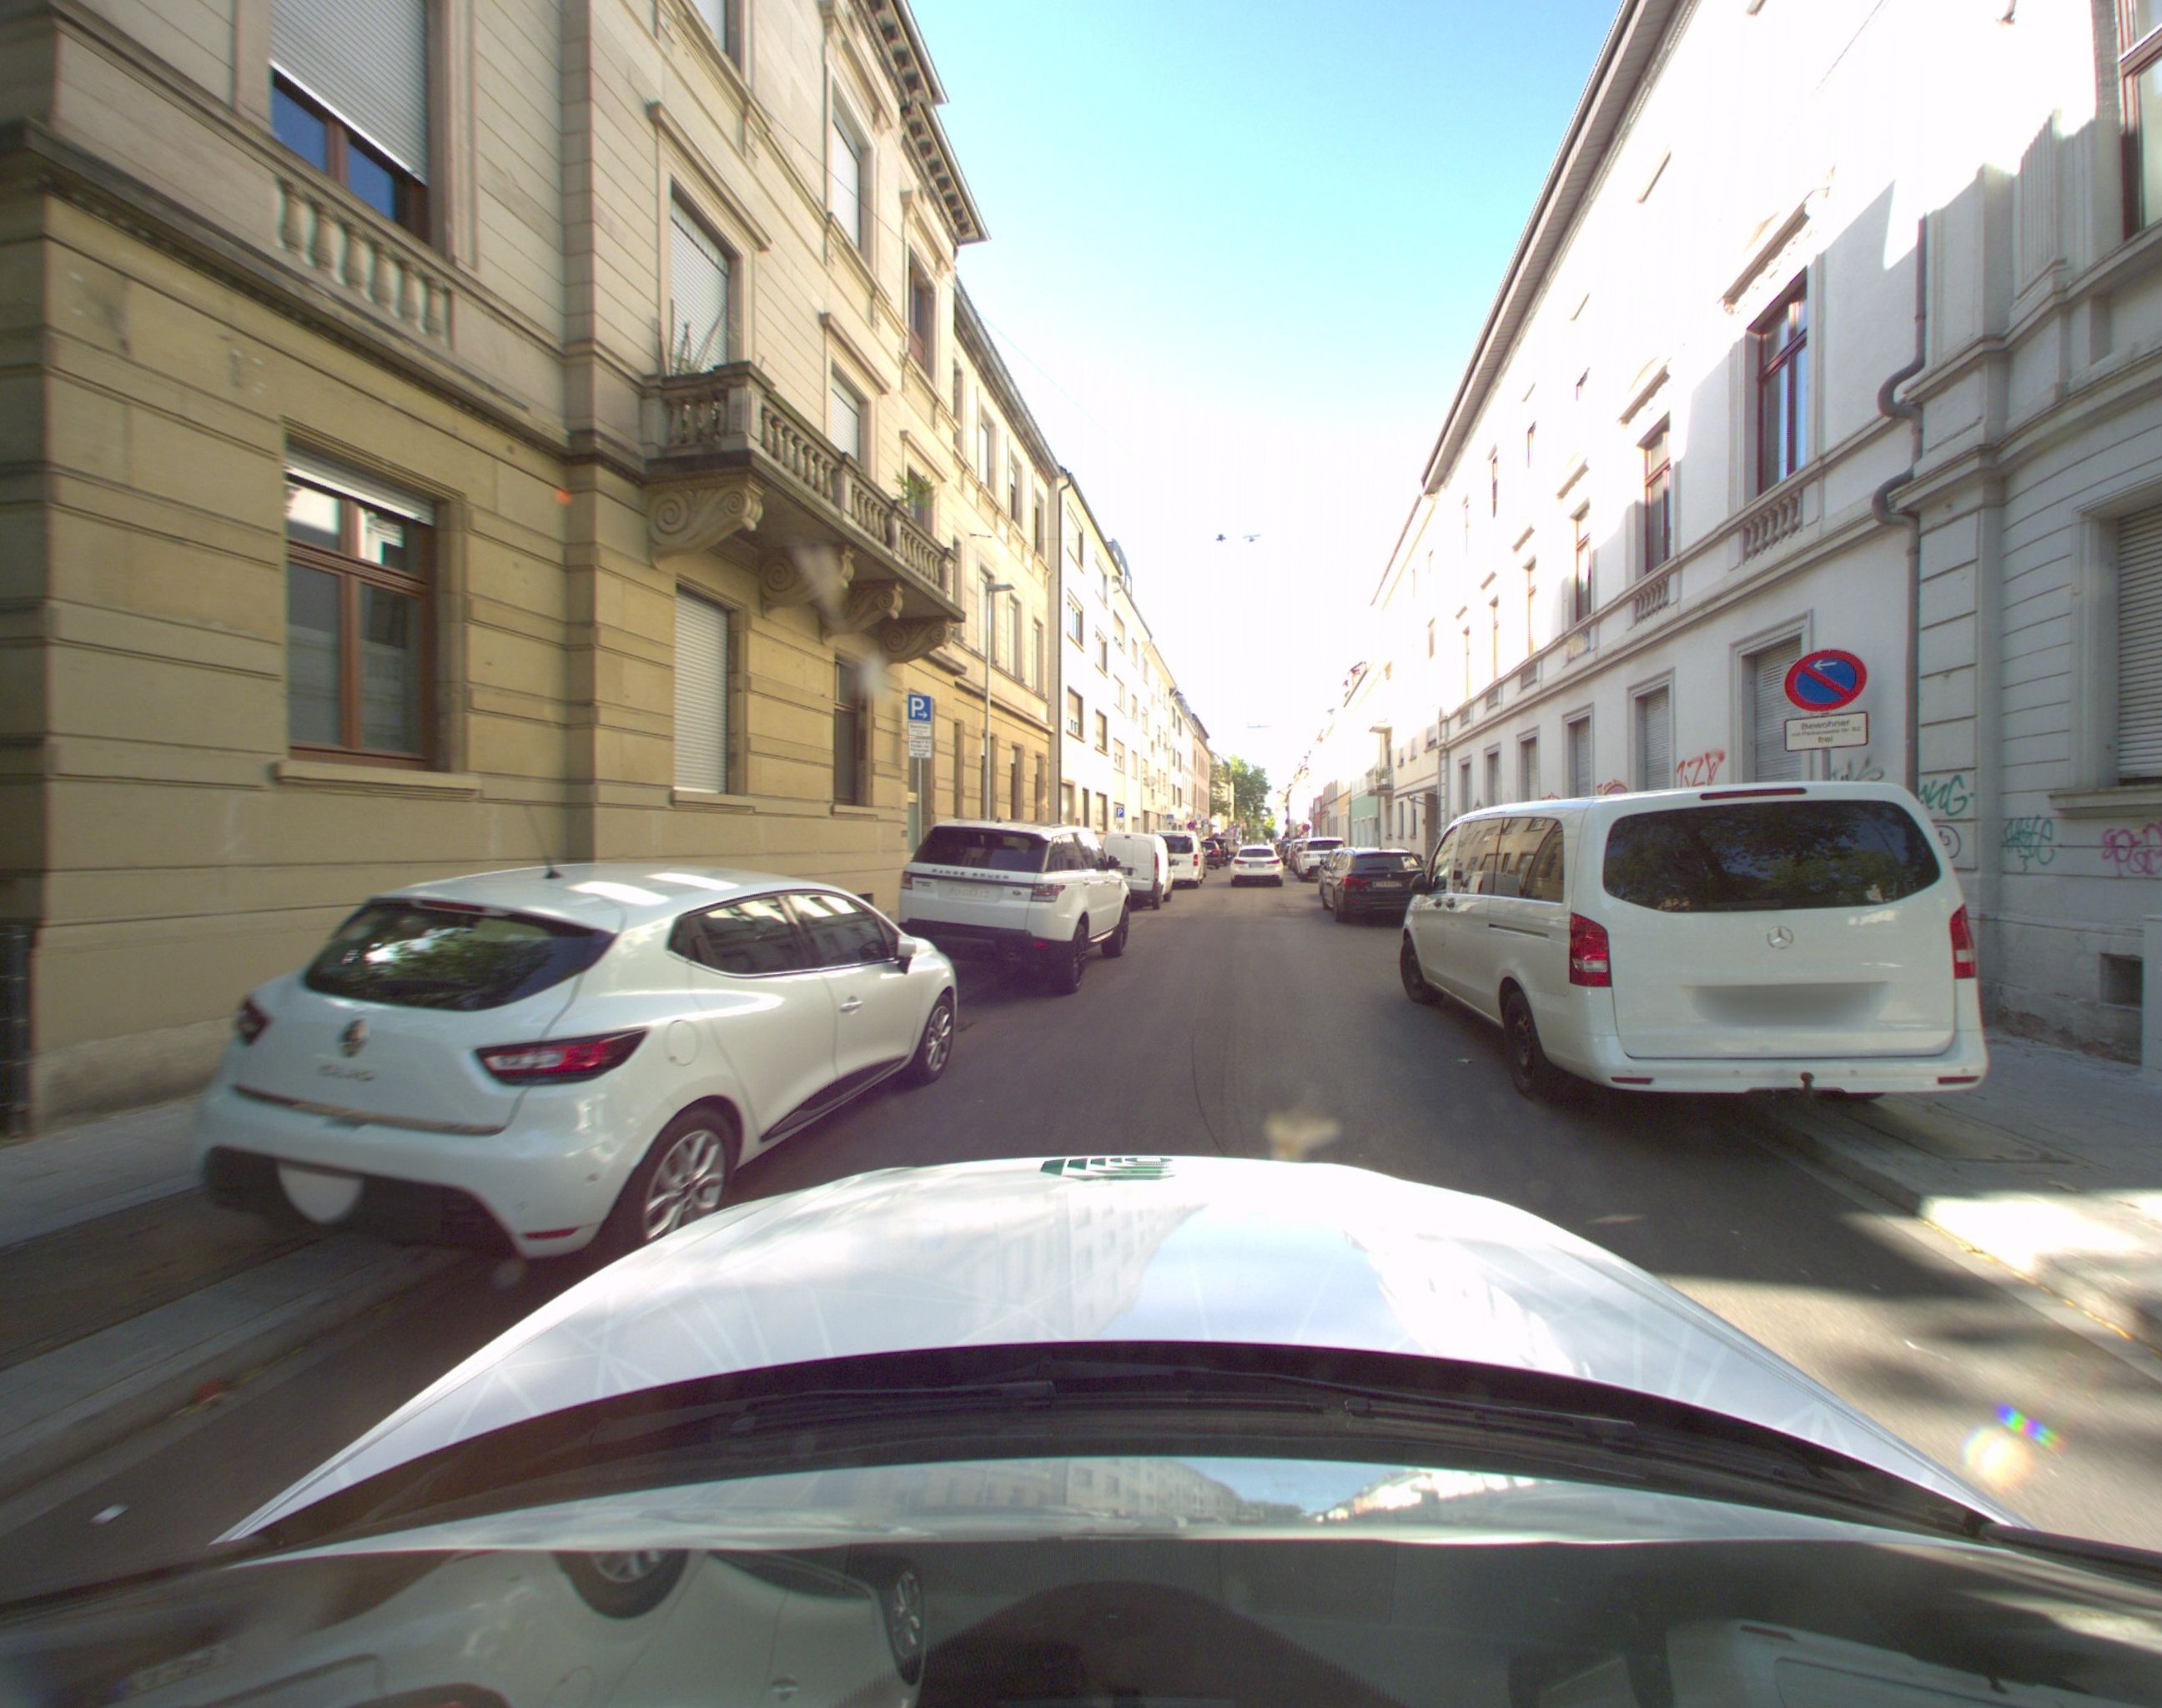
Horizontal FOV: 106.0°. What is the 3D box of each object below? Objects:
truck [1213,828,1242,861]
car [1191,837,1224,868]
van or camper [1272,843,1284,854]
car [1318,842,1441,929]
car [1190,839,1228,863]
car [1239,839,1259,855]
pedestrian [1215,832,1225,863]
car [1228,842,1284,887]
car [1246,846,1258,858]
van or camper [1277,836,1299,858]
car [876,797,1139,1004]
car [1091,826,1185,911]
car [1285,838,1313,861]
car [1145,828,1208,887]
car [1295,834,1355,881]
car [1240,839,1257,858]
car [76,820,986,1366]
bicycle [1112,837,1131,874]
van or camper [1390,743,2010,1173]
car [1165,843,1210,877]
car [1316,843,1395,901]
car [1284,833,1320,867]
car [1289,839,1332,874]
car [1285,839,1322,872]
[{"bbox_3d":[12.056,-0.726,67.337,2.144,2.590,6.263,-1,-1,8],"label":"truck"},{"bbox_3d":[7.954,-0.113,51.051,1.868,1.755,4.555,3,2,9],"label":"car"},{"bbox_3d":[33.800,-0.907,139.864,1.980,1.926,4.014,-1,-1,13],"label":"van or camper"},{"bbox_3d":[6.190,0.534,17.407,1.803,1.519,4.744,2,2,12],"label":"car"},{"bbox_3d":[9.492,-0.232,59.955,2.424,1.705,5.261,0,1,13],"label":"car"},{"bbox_3d":[16.044,-0.673,77.904,1.746,1.415,4.013,-2,0,11],"label":"car"},{"bbox_3d":[9.771,-0.453,57.363,0.615,2.229,0.690,-1,-1,13],"label":"pedestrian"},{"bbox_3d":[6.461,0.369,29.773,1.821,1.486,4.072,-2,0,14],"label":"car"},{"bbox_3d":[24.885,-0.322,118.367,1.613,1.597,3.593,1,1,13],"label":"car"},{"bbox_3d":[19.827,-0.636,78.216,1.764,2.036,4.584,-2,0,11],"label":"van or camper"},{"bbox_3d":[-0.607,0.426,10.355,2.008,2.013,4.559,0,1,13],"label":"car"},{"bbox_3d":[1.594,0.290,21.229,1.733,1.876,4.104,4,2,12],"label":"car"},{"bbox_3d":[15.632,-0.321,58.562,1.727,1.577,4.393,0,1,12],"label":"car"},{"bbox_3d":[3.595,0.061,29.963,1.882,1.958,4.796,2,2,11],"label":"car"},{"bbox_3d":[9.953,0.081,33.525,1.992,1.783,4.956,0,1,12],"label":"car"},{"bbox_3d":[16.868,-0.536,82.099,1.637,1.867,4.012,0,1,10],"label":"car"},{"bbox_3d":[-2.050,0.693,4.501,1.855,1.561,3.954,2,0,11],"label":"car"},{"bbox_3d":[1.696,0.060,34.096,0.554,1.509,1.805,2,1,9],"label":"bicycle"},{"bbox_3d":[3.891,0.441,6.449,1.882,2.013,5.047,0,1,11],"label":"van or camper"},{"bbox_3d":[4.947,0.222,37.428,1.695,1.450,4.315,1,1,11],"label":"car"},{"bbox_3d":[7.817,0.453,23.485,1.735,1.448,3.883,2,2,12],"label":"car"},{"bbox_3d":[13.220,-0.241,48.891,1.770,1.961,4.350,0,0,12],"label":"car"},{"bbox_3d":[11.057,0.089,39.443,1.730,1.568,4.046,0,1,12],"label":"car"},{"bbox_3d":[11.968,0.047,43.914,1.570,1.632,3.692,1,1,10],"label":"car"}]
